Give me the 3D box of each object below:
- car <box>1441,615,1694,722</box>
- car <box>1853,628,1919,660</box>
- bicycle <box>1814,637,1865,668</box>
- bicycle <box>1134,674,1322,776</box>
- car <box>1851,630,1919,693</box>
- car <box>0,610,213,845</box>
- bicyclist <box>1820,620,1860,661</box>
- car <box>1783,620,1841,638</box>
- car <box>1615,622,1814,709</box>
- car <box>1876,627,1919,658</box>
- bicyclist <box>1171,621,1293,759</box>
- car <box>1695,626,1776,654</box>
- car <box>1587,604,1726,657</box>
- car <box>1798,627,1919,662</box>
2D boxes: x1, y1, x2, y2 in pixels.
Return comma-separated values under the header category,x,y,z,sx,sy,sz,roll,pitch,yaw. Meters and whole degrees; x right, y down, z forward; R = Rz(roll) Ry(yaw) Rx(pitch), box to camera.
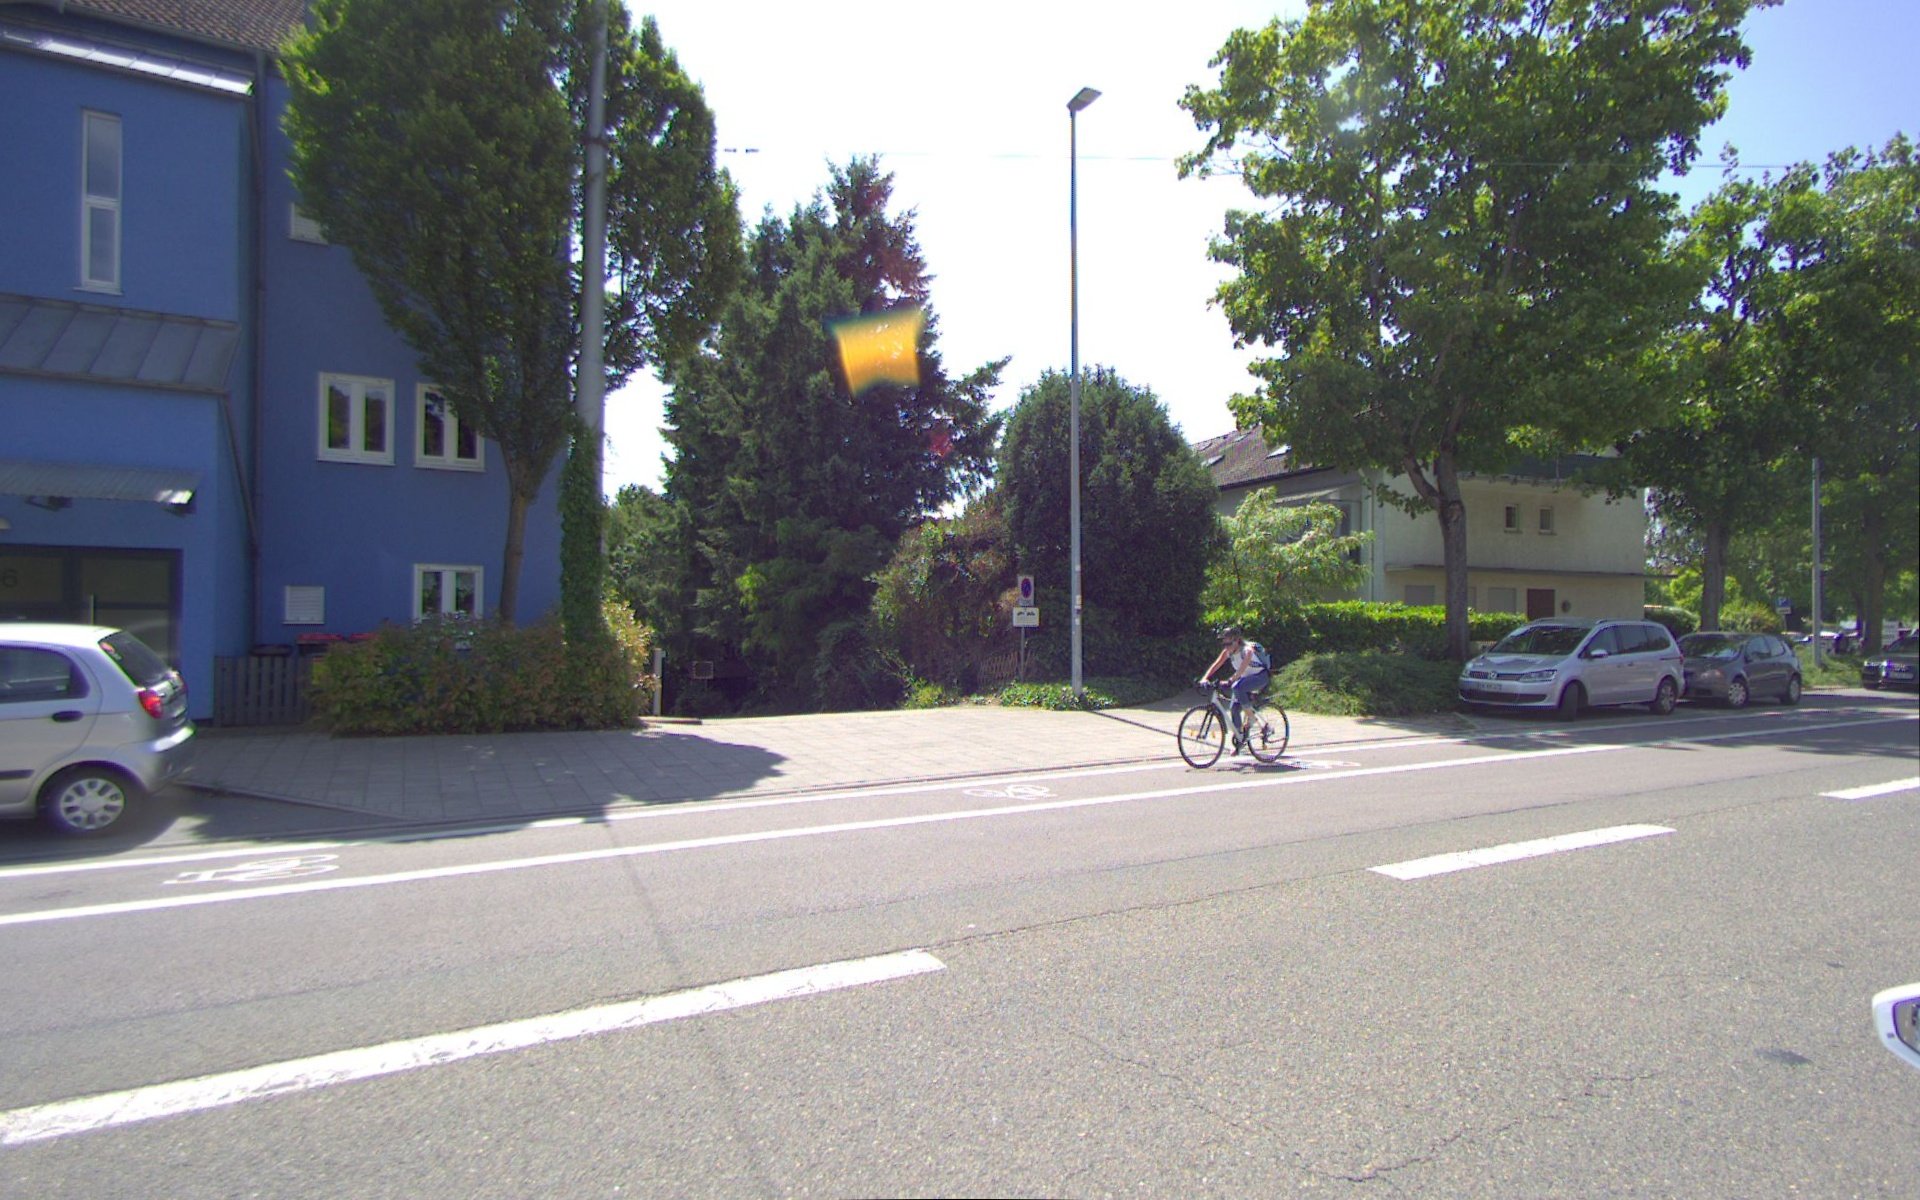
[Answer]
category,x,y,z,sx,sy,sz,roll,pitch,yaw
car,10.947,1.130,18.017,4.724,1.687,1.864,1,0,-30
car,49.004,2.260,51.590,1.886,1.606,4.333,1,-2,-23
bicycle,31.223,1.856,35.657,1.805,1.043,0.698,2,0,-27
bicycle,3.012,1.345,11.182,2.219,0.963,0.698,0,-3,-33
car,25.495,1.586,26.424,4.397,1.496,1.810,1,0,-30
car,-7.675,0.887,7.308,3.407,1.516,1.585,1,4,-30
bicyclist,31.196,1.423,35.610,0.817,1.392,0.806,2,0,-27
car,85.658,2.918,101.016,1.794,1.638,4.004,2,0,-28
car,15.507,1.278,20.618,4.132,1.585,1.810,1,0,-30
car,51.373,2.229,52.846,1.885,1.606,4.334,1,-2,-23
bicyclist,3.029,0.981,11.192,1.113,1.449,0.731,1,-4,-33
car,52.501,2.696,68.064,1.799,1.675,3.957,2,0,-37
car,43.823,1.872,63.449,2.337,3.005,6.817,2,0,-30
car,44.386,2.164,49.545,1.891,1.606,4.321,1,-2,-31
